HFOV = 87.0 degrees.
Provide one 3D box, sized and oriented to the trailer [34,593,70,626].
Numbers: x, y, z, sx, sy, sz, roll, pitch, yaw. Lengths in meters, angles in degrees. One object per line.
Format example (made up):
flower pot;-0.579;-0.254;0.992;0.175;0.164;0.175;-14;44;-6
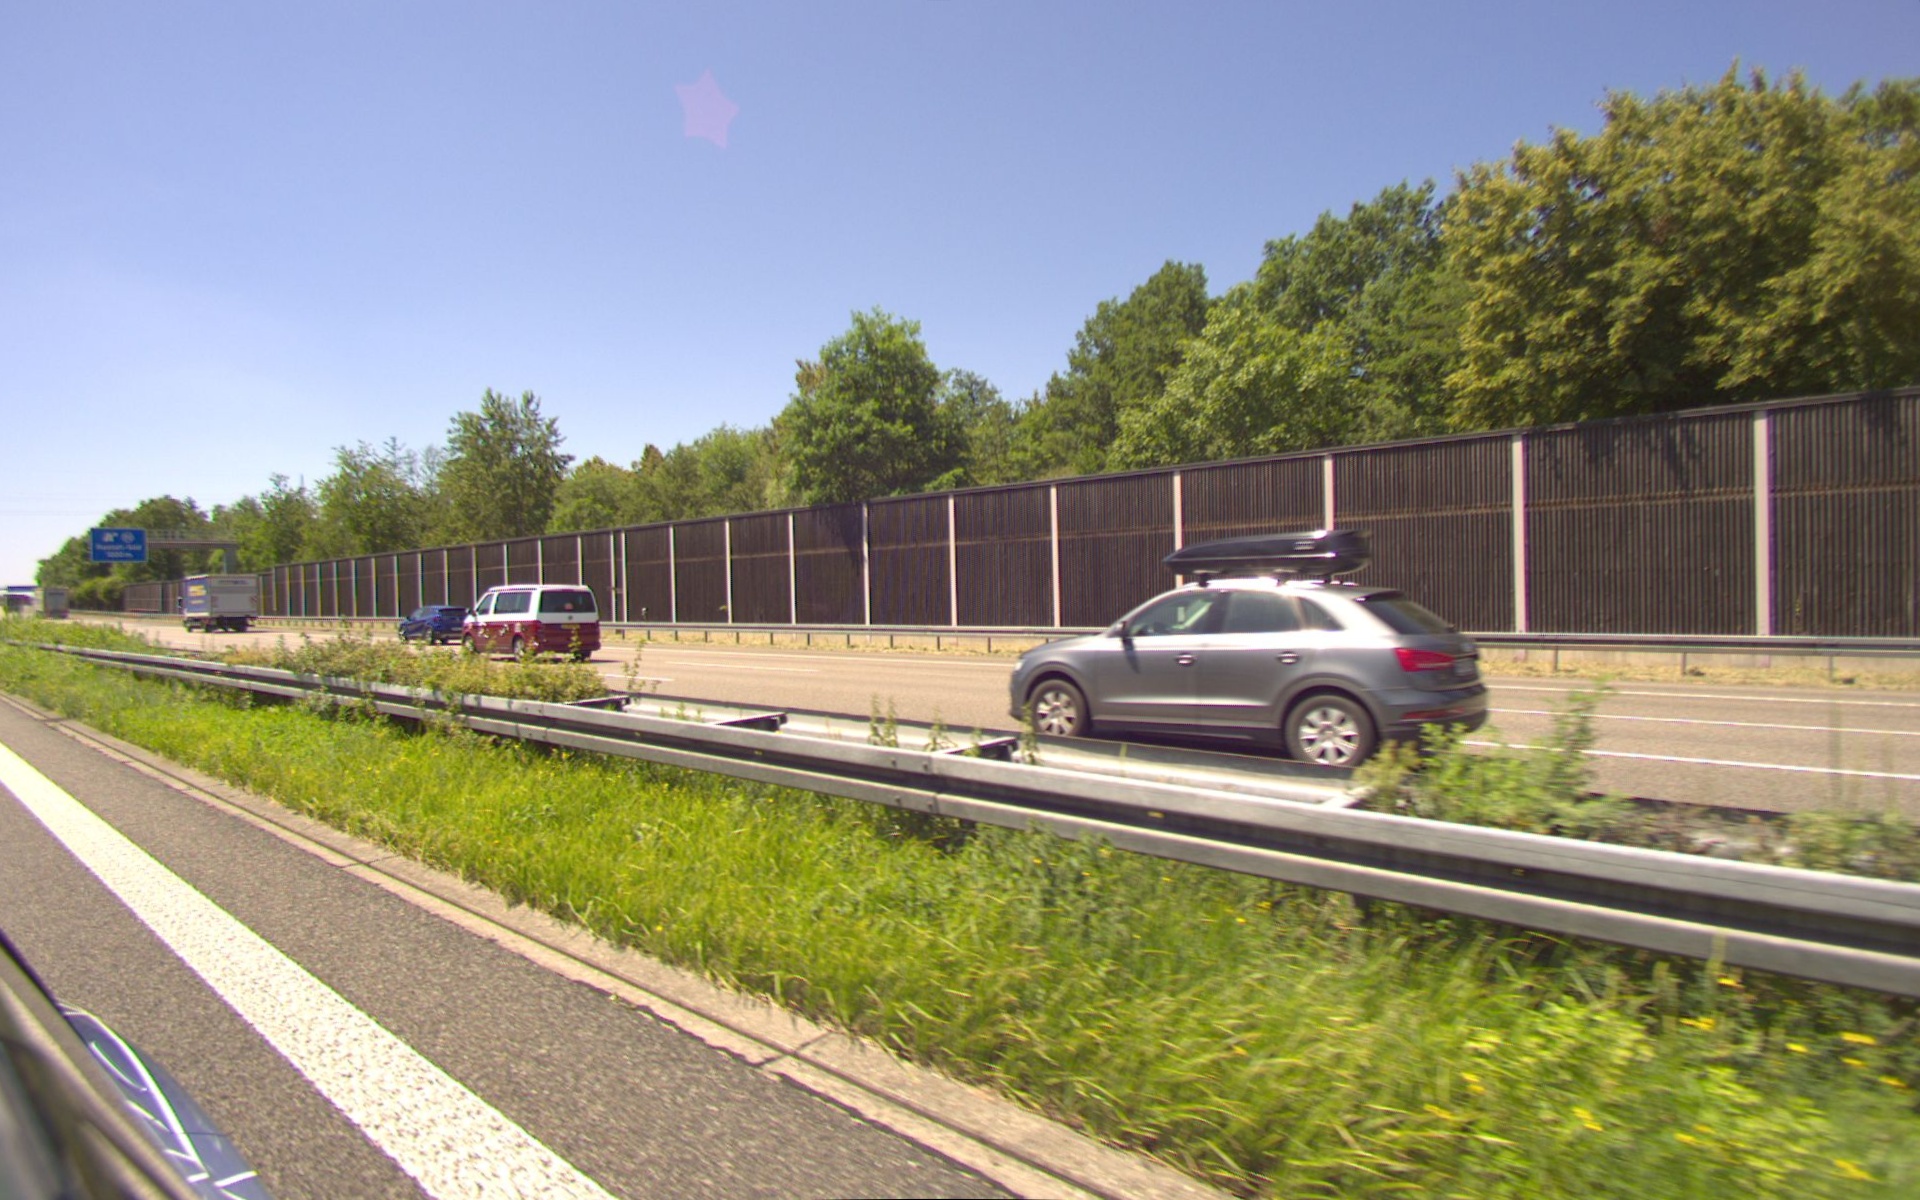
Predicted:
trailer;-120.337;1.255;134.046;13.655;4.167;2.457;-1;0;43

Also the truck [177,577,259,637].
truck;-48.054;0.460;65.419;8.746;3.637;2.802;-1;0;44

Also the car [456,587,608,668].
car;-11.329;0.683;26.638;4.607;1.960;1.906;-1;-1;42

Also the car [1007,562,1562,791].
car;2.659;0.551;8.954;4.358;1.555;1.695;-1;-1;41

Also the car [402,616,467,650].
car;-20.730;1.270;39.918;3.027;1.264;1.266;-1;0;41

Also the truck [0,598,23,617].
truck;-186.798;1.529;199.182;9.954;3.632;2.838;-1;0;44
